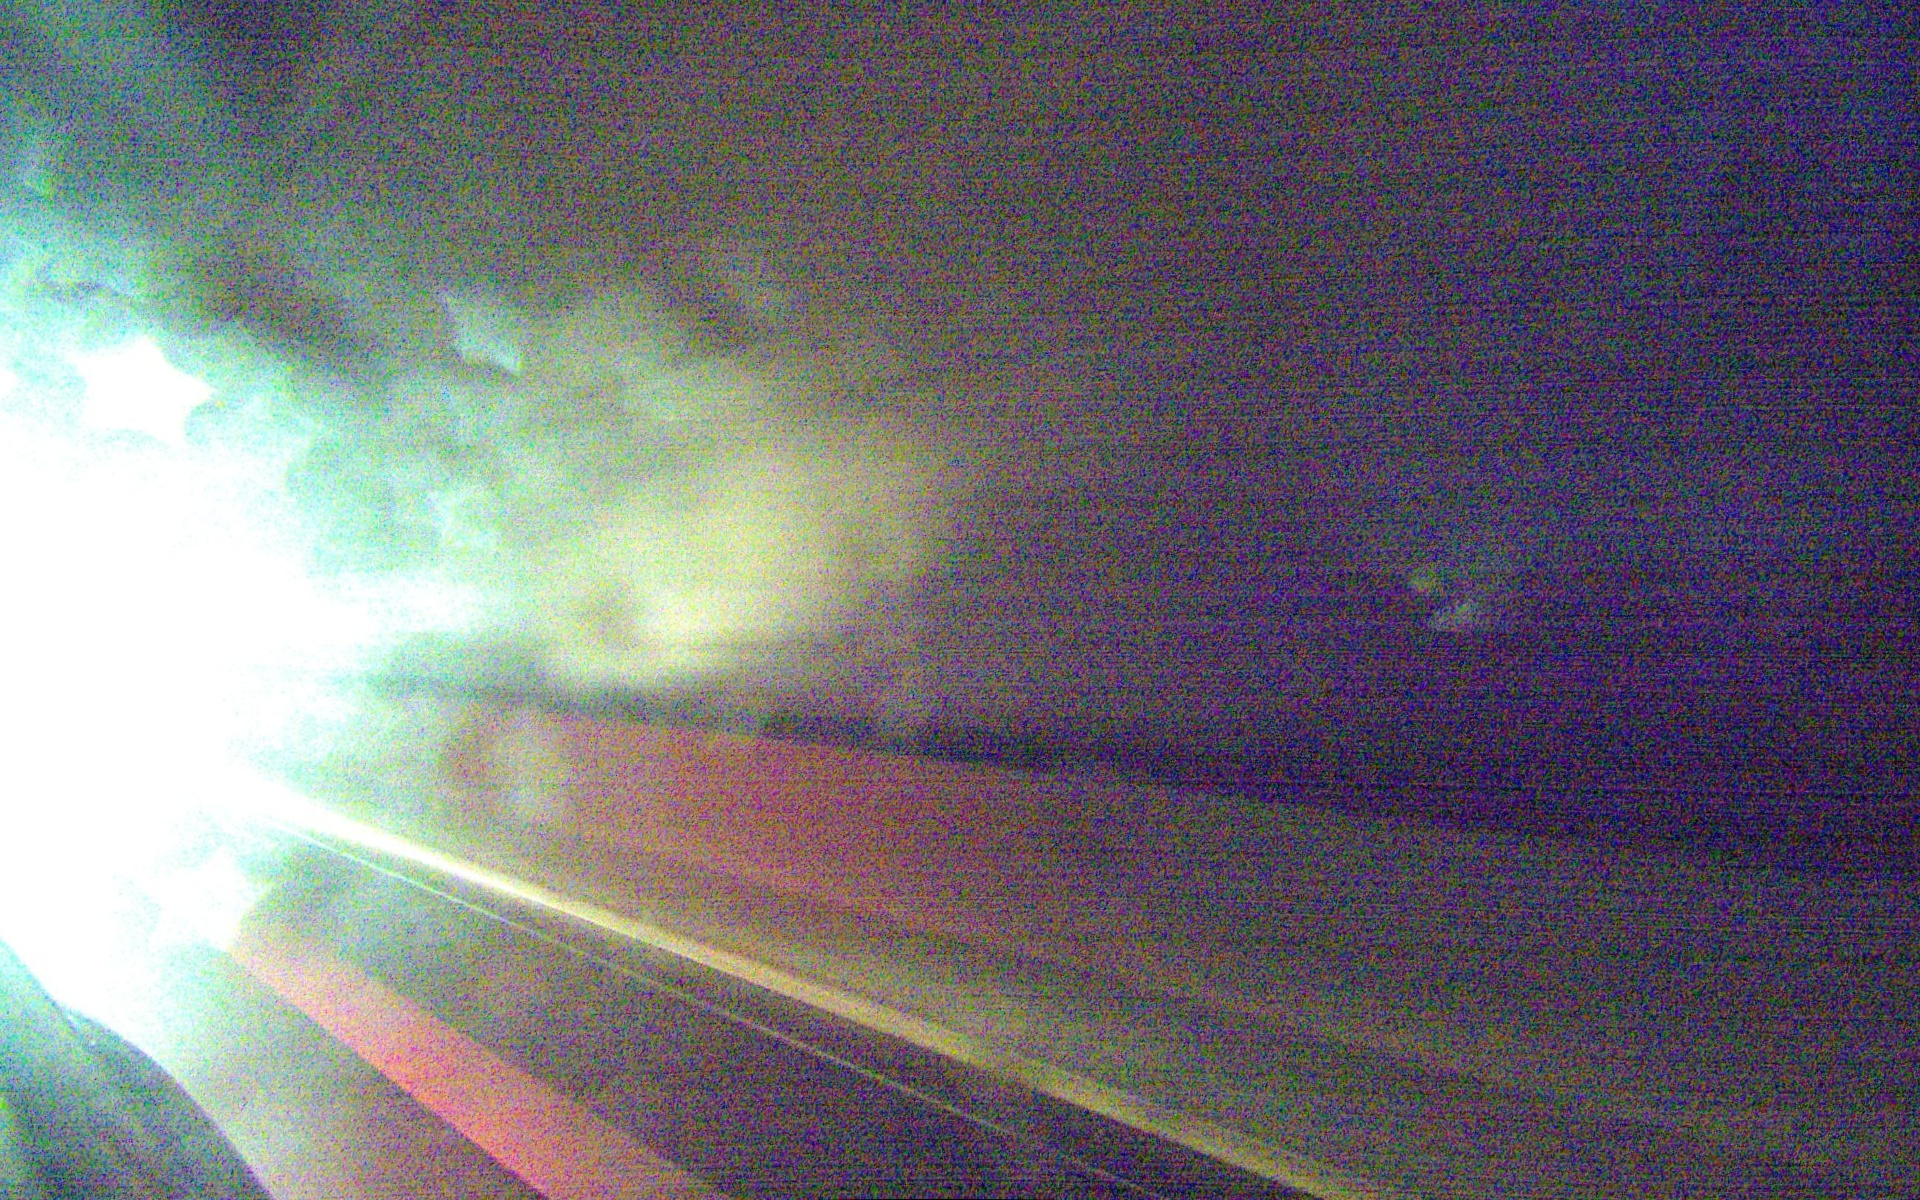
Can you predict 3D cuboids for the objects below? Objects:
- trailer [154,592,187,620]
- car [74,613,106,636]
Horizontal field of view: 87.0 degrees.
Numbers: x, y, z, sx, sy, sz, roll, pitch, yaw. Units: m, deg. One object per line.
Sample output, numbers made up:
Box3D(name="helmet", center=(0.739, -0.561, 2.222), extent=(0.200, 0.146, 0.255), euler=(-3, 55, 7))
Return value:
Box3D(name="trailer", center=(-118.697, 0.917, 152.138), extent=(2.894, 3.776, 9.511), euler=(-6, 3, -42))
Box3D(name="car", center=(-85.548, 2.436, 99.525), extent=(1.971, 2.028, 5.192), euler=(-7, 3, -44))
